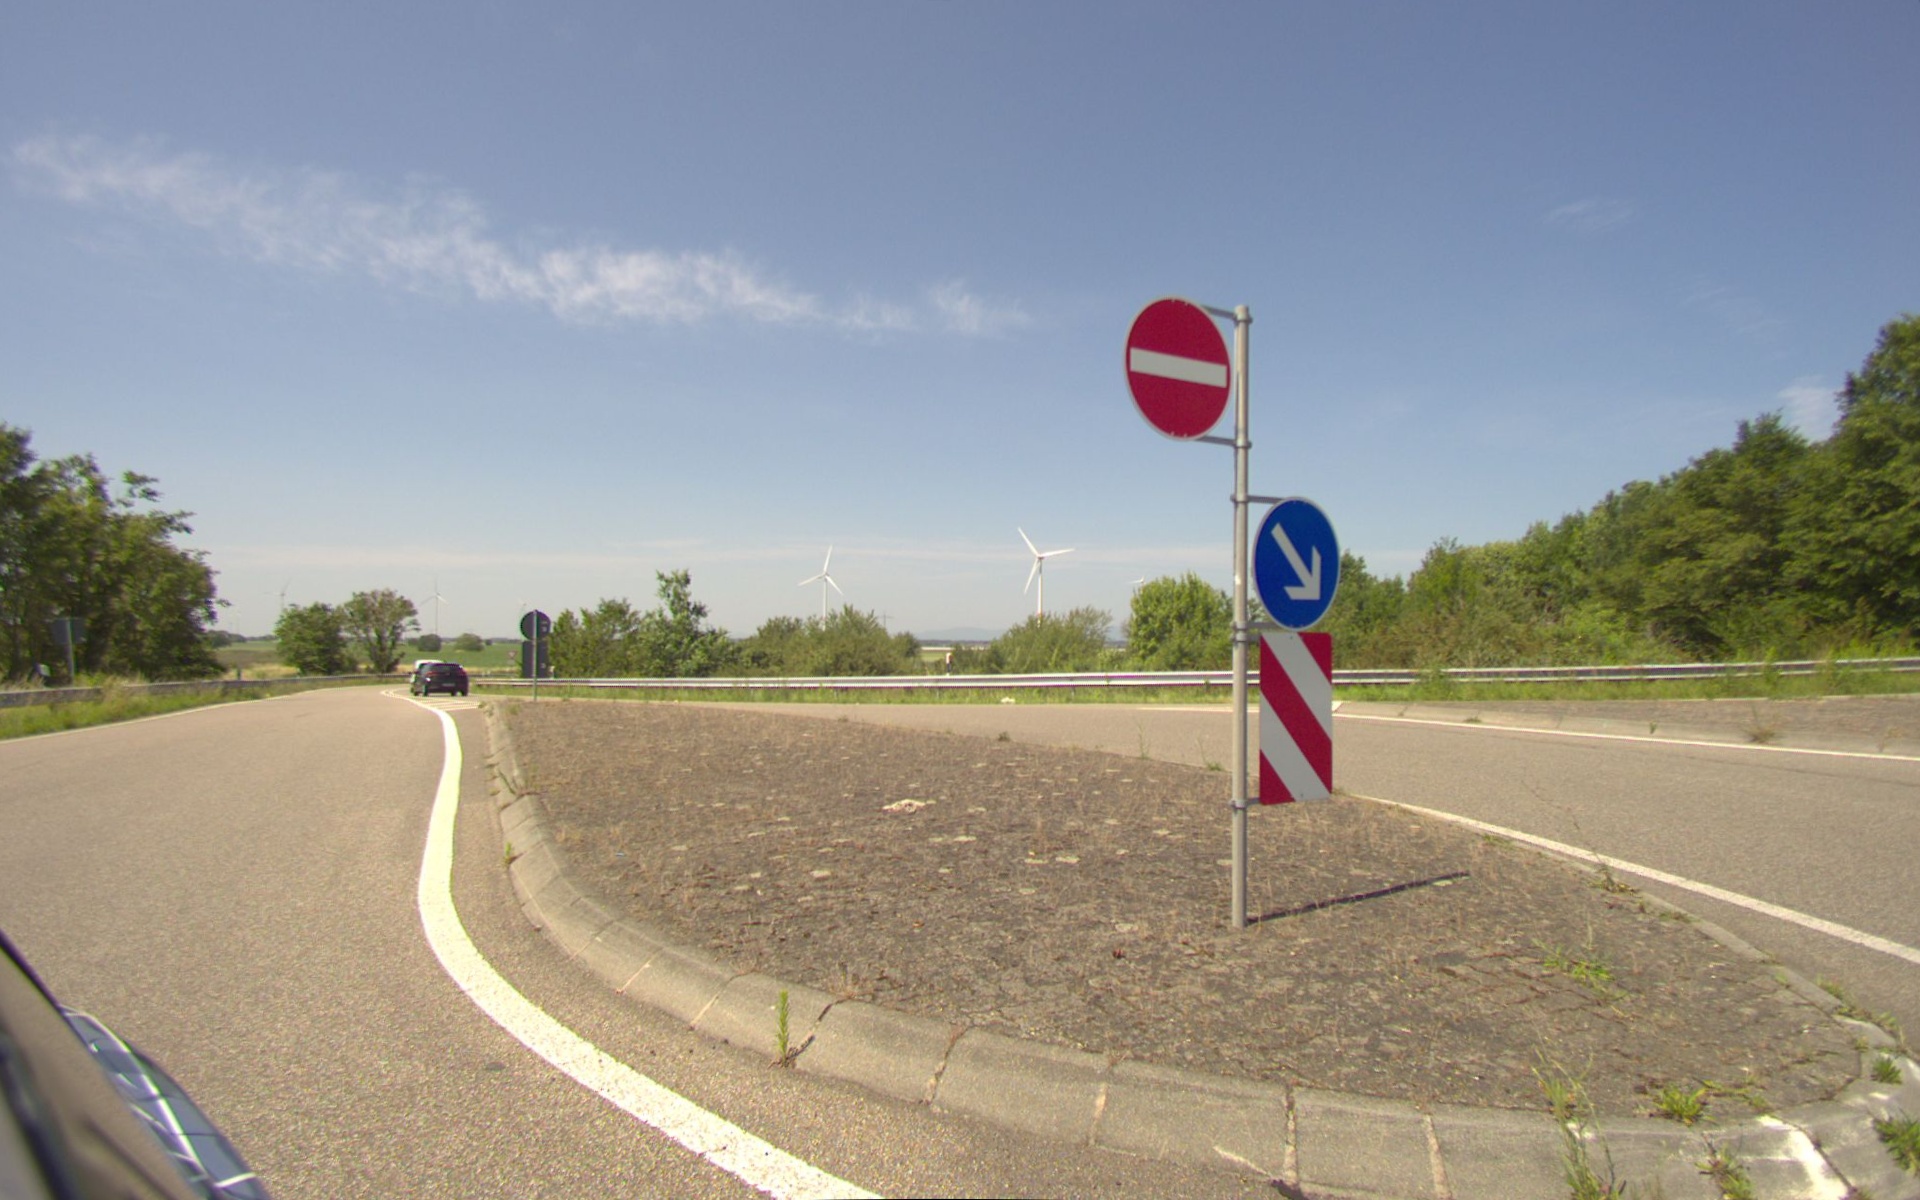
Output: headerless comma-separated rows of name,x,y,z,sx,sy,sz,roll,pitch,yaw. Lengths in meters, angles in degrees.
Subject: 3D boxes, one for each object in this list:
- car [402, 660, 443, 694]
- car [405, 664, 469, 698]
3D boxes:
car,-29.665,4.242,55.818,1.712,1.775,4.094,2,-5,-32
car,-22.669,3.542,43.803,1.686,1.406,3.894,4,-7,-38
